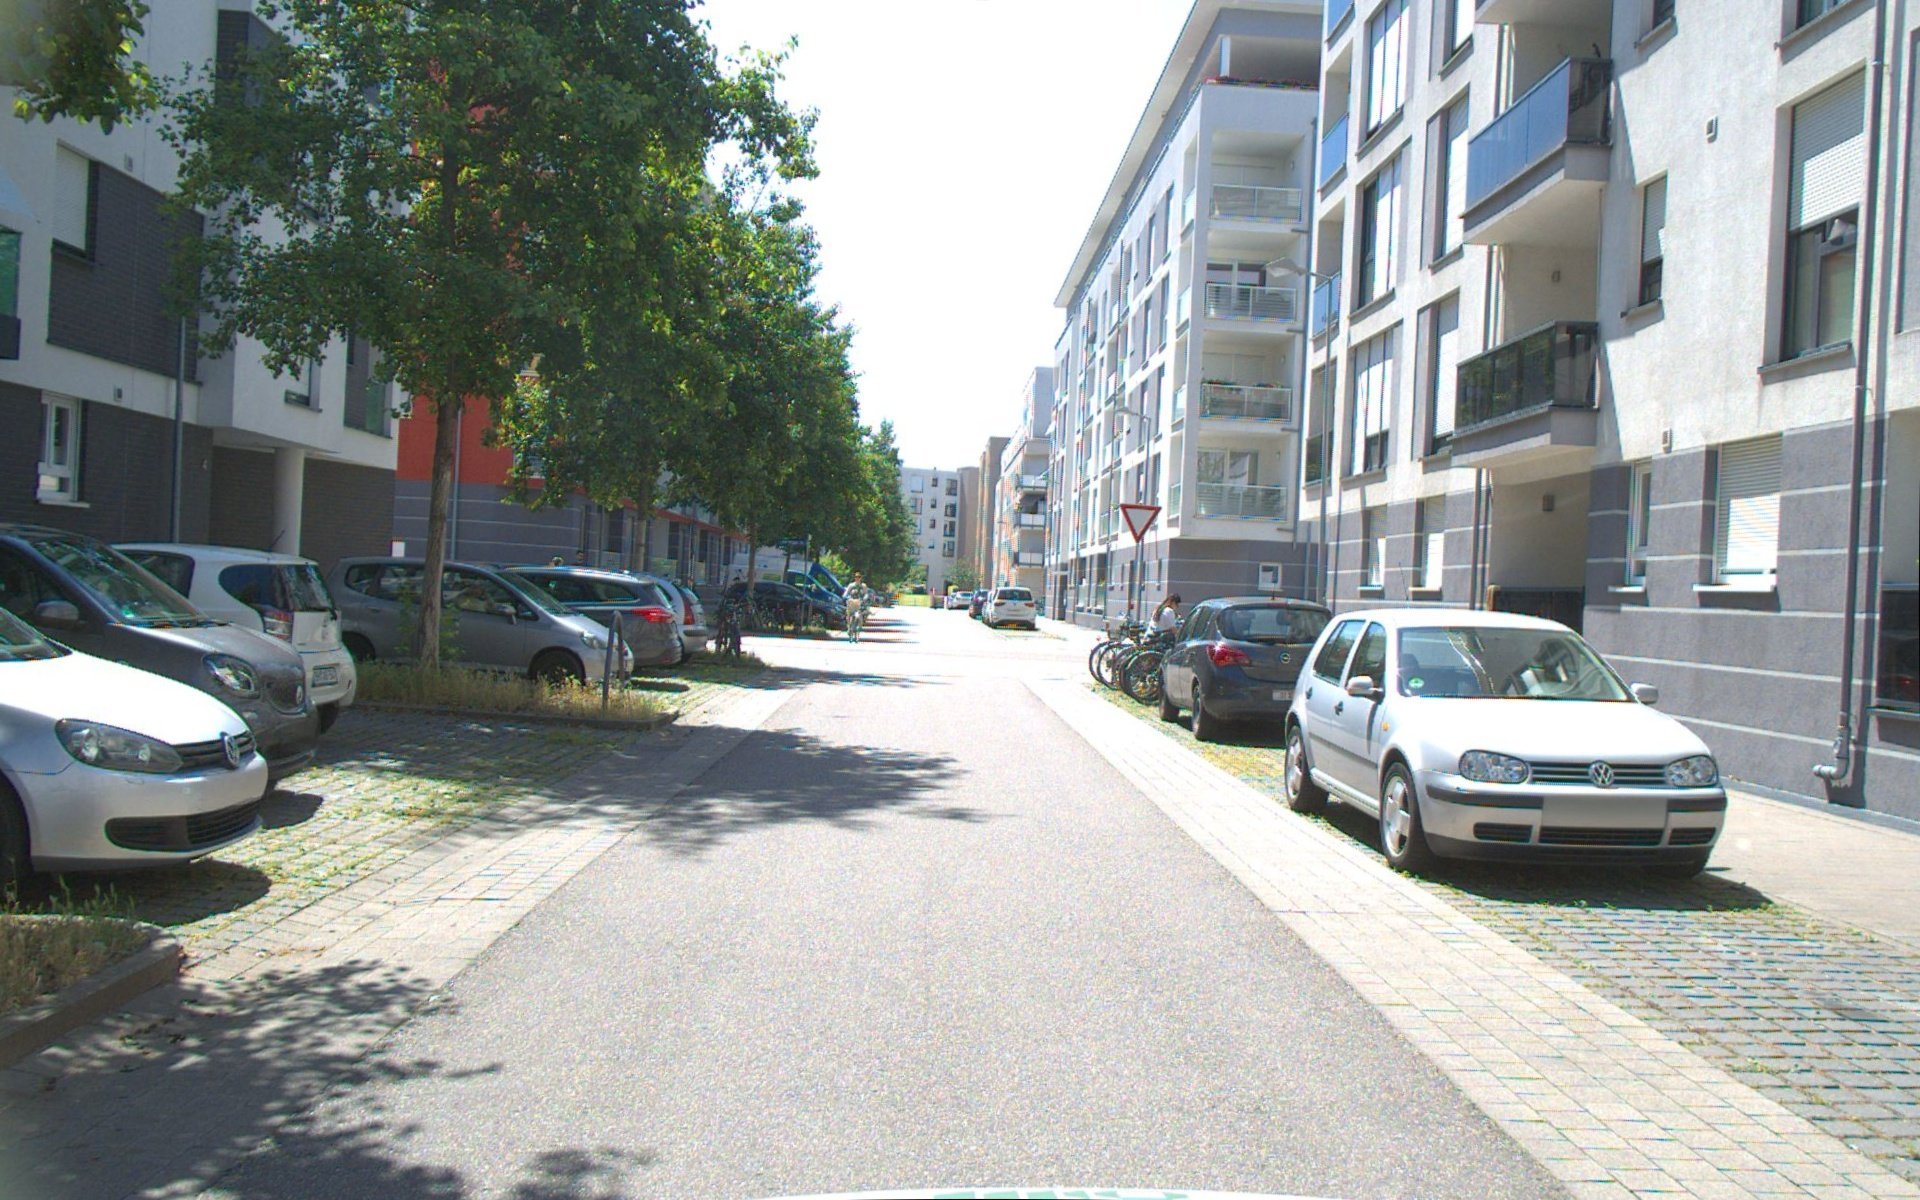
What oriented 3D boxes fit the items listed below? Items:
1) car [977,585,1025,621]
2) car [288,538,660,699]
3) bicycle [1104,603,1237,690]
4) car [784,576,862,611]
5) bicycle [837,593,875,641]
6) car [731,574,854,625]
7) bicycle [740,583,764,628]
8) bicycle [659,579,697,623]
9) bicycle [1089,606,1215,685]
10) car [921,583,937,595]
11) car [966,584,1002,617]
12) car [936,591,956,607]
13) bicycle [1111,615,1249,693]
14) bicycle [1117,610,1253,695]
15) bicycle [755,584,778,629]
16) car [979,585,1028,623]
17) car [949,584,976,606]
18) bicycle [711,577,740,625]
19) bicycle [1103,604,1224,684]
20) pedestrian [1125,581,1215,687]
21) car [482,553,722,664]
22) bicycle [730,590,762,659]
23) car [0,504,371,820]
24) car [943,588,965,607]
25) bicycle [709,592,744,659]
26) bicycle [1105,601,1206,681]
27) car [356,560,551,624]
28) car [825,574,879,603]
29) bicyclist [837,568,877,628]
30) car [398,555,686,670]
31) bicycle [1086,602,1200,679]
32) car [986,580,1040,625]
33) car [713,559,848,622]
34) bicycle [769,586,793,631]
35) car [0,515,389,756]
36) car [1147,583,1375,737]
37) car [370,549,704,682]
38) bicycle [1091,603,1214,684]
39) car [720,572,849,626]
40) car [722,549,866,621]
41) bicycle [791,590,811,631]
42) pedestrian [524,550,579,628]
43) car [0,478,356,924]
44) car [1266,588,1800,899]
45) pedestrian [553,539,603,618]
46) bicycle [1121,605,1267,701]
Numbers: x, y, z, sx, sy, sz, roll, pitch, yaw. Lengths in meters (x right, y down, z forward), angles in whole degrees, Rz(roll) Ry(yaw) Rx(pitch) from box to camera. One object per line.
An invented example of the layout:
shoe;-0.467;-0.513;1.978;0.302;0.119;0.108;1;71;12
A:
car;1.874;0.113;76.799;1.954;1.551;3.998;2;0;-2
car;-5.740;0.204;19.921;3.859;1.580;1.872;4;0;-2
bicycle;3.132;0.695;24.603;1.888;1.239;0.459;1;0;-11
car;-7.309;-0.343;88.645;3.905;1.646;2.000;3;0;0
bicycle;-2.647;0.422;42.230;0.880;1.148;2.039;2;0;-2
car;-6.209;-0.032;61.642;4.295;1.568;1.878;4;0;-2
bicycle;-6.162;0.150;48.990;0.508;1.224;1.751;4;1;-3
bicycle;-8.275;0.006;48.558;0.675;1.190;2.223;5;1;-1
bicycle;2.967;0.692;25.548;1.882;1.153;0.609;1;0;8
car;-4.128;-1.437;218.201;1.954;1.545;3.998;2;0;-3
car;1.267;0.004;86.363;1.721;1.579;4.001;3;0;2
car;-1.497;-0.112;176.146;1.954;1.545;3.998;2;0;-3
bicycle;3.179;0.778;23.942;1.886;1.053;0.559;1;0;-5
bicycle;3.147;0.735;23.247;1.751;1.123;0.746;1;0;-5
bicycle;-5.702;0.183;48.750;0.425;1.224;1.700;4;1;-1
car;1.873;0.149;71.969;1.953;1.551;3.999;2;0;-1
car;0.224;-0.412;134.894;1.954;1.704;3.998;2;0;-3
bicycle;-6.903;0.010;48.761;0.581;1.354;1.812;2;1;-1
bicycle;3.107;0.673;25.186;1.807;1.168;0.458;1;0;-21
pedestrian;3.137;0.498;24.729;1.157;1.541;0.686;1;0;-11
car;-5.927;0.130;27.731;3.557;1.547;1.831;4;0;-2
bicycle;-3.933;0.431;30.306;0.364;1.201;1.815;2;0;-13
car;-5.633;0.256;9.757;3.638;1.613;1.818;4;0;-7
car;-0.574;-0.230;162.105;1.954;1.747;3.998;2;0;-3
bicycle;-4.287;0.446;30.268;0.426;1.147;1.972;2;0;-13
bicycle;3.162;0.659;26.840;1.520;1.239;0.707;1;0;-3
car;-13.132;-0.233;43.098;4.482;1.407;1.936;3;2;-4
car;-8.513;-0.914;130.254;3.903;2.048;2.001;3;0;5
bicyclist;-2.634;-0.055;42.360;0.934;1.485;0.799;2;0;-2
car;-6.349;0.181;25.445;3.905;1.582;1.800;2;0;0
bicycle;3.038;0.660;27.547;1.821;1.214;0.687;1;0;1
car;2.088;0.083;66.273;1.957;1.686;4.114;2;0;-1
car;-7.121;-0.385;66.013;5.042;2.156;2.311;4;1;-2
bicycle;-5.279;0.234;48.755;0.560;1.194;1.765;5;1;-8
car;-6.197;0.221;12.745;2.875;1.525;1.847;5;0;-3
car;3.288;0.586;18.857;1.703;1.511;4.228;2;1;-1
car;-5.716;0.214;22.818;4.099;1.512;1.957;3;-1;-5
bicycle;3.050;0.675;26.155;1.882;1.200;0.639;1;0;8
car;-6.214;-0.040;58.852;4.295;1.541;2.075;4;0;-2
car;-7.114;-0.635;71.444;5.902;2.865;2.604;2;0;-2
bicycle;-4.707;0.311;48.990;0.456;1.161;1.925;2;0;-3
pedestrian;-9.303;-0.240;37.685;0.980;1.720;0.832;2;0;-1
car;-5.187;0.366;7.354;4.274;1.740;1.999;1;0;-4
car;3.307;0.714;10.538;1.797;1.531;4.349;1;1;-1
pedestrian;-10.186;-0.579;44.159;0.988;2.049;1.129;2;0;1
bicycle;3.176;0.708;22.501;1.833;1.239;0.715;1;0;-5
